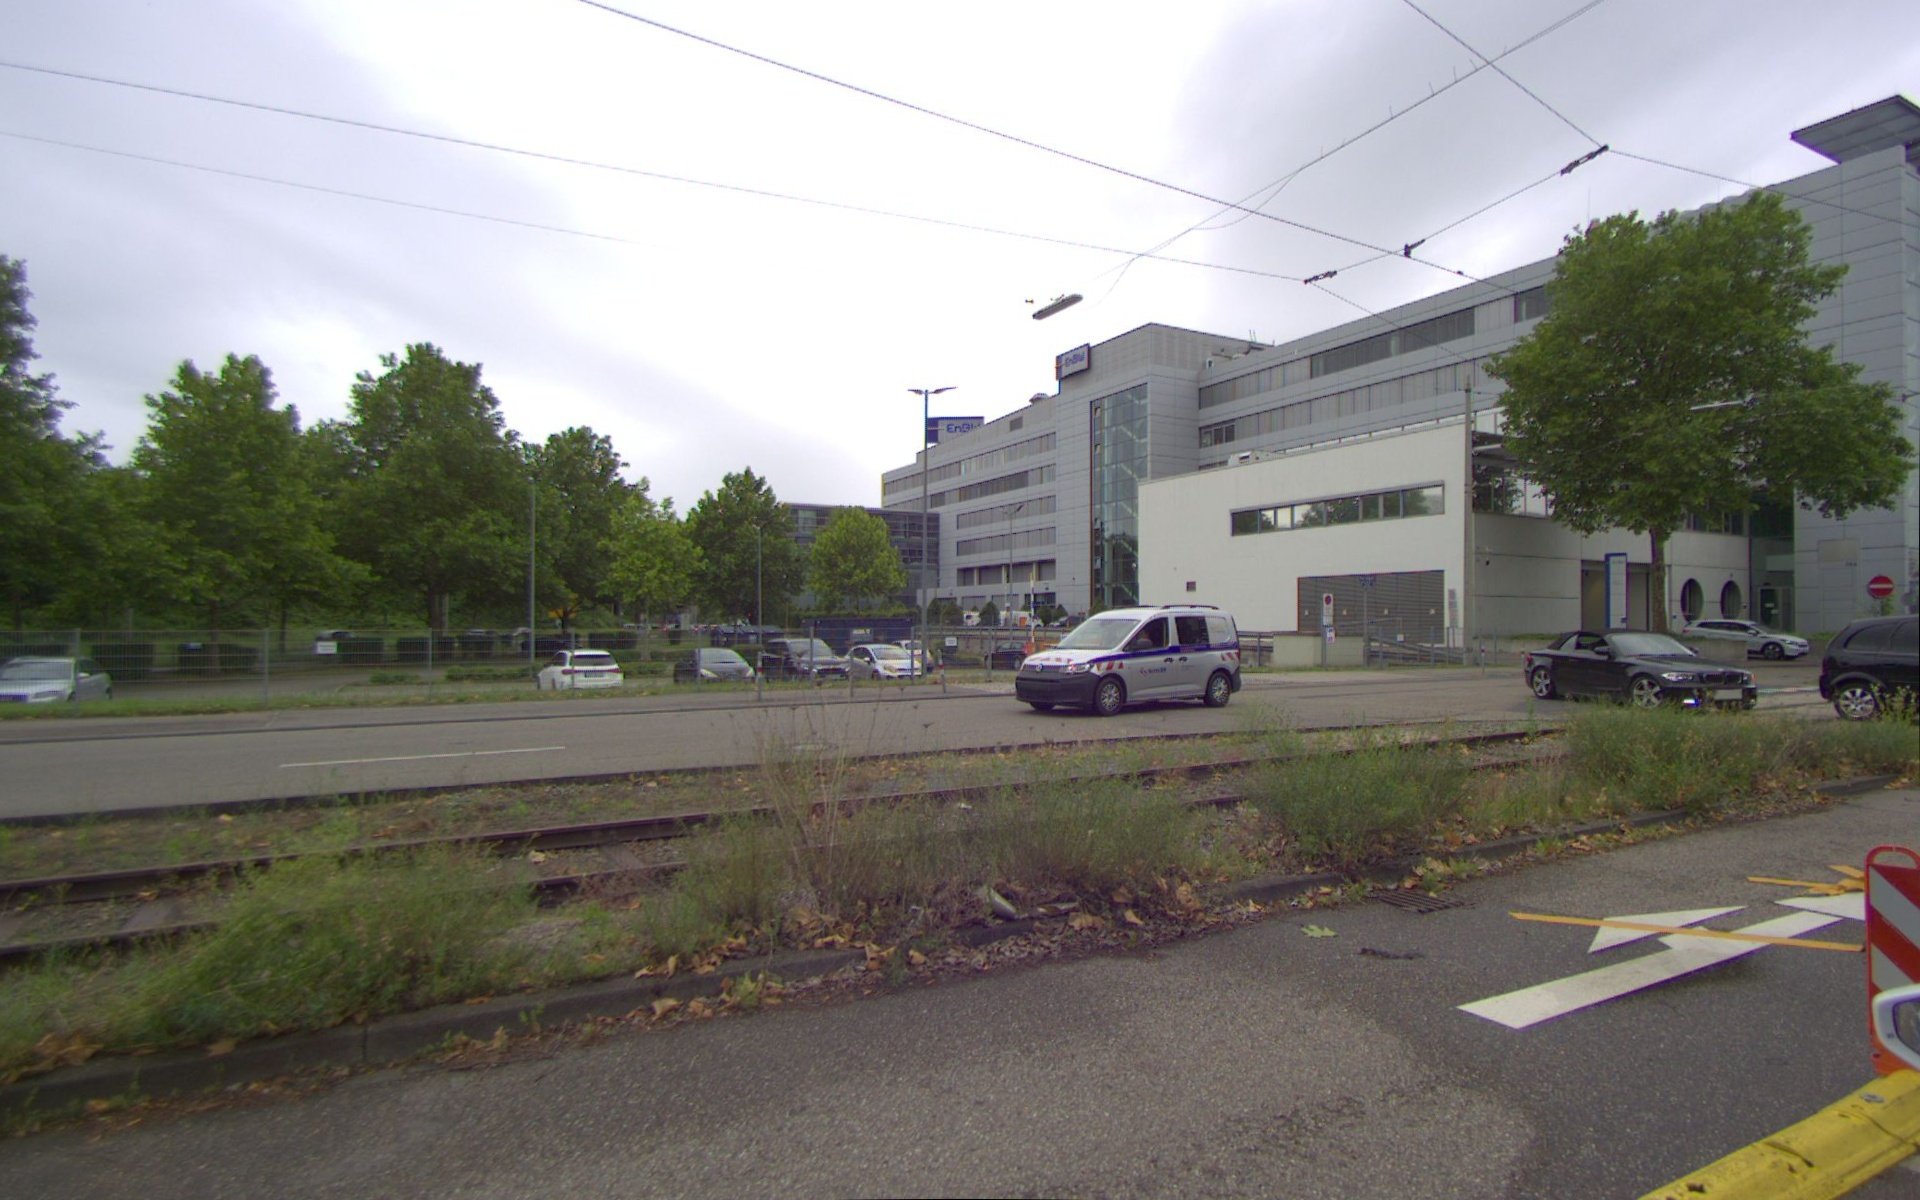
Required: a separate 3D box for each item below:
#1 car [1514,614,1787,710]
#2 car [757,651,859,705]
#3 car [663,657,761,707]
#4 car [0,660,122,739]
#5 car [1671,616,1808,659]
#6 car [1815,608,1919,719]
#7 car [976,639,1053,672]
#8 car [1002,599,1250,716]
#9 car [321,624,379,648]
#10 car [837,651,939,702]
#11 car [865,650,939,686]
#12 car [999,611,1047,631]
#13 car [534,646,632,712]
[{"bbox_3d":[12.111,1.099,18.018,1.791,1.494,4.127,1,-3,-6],"label":"car"},{"bbox_3d":[-4.905,2.424,32.090,1.891,1.505,3.968,1,-2,-31],"label":"car"},{"bbox_3d":[-7.707,2.472,30.951,1.891,1.332,3.968,1,-2,-31],"label":"car"},{"bbox_3d":[-21.225,2.224,23.208,1.888,1.552,4.197,1,-2,-26],"label":"car"},{"bbox_3d":[34.882,1.655,45.074,1.804,1.692,4.488,1,0,-31],"label":"car"},{"bbox_3d":[14.885,0.950,14.212,1.803,1.576,3.866,1,0,-28],"label":"car"},{"bbox_3d":[2.608,2.664,49.086,1.891,1.505,3.968,1,-2,-31],"label":"car"},{"bbox_3d":[2.980,0.946,17.623,4.385,1.806,1.806,1,-2,-37],"label":"car"},{"bbox_3d":[-44.138,2.581,72.784,1.738,1.548,3.671,0,0,6],"label":"car"},{"bbox_3d":[-2.481,2.520,33.718,1.891,1.505,3.968,1,-2,-31],"label":"car"},{"bbox_3d":[-2.765,3.169,47.298,1.891,1.505,3.968,1,-2,-31],"label":"car"},{"bbox_3d":[6.405,2.172,102.605,4.592,2.040,1.986,1,-2,-28],"label":"car"},{"bbox_3d":[-10.907,2.202,28.908,1.891,1.655,4.504,1,-2,-31],"label":"car"}]
